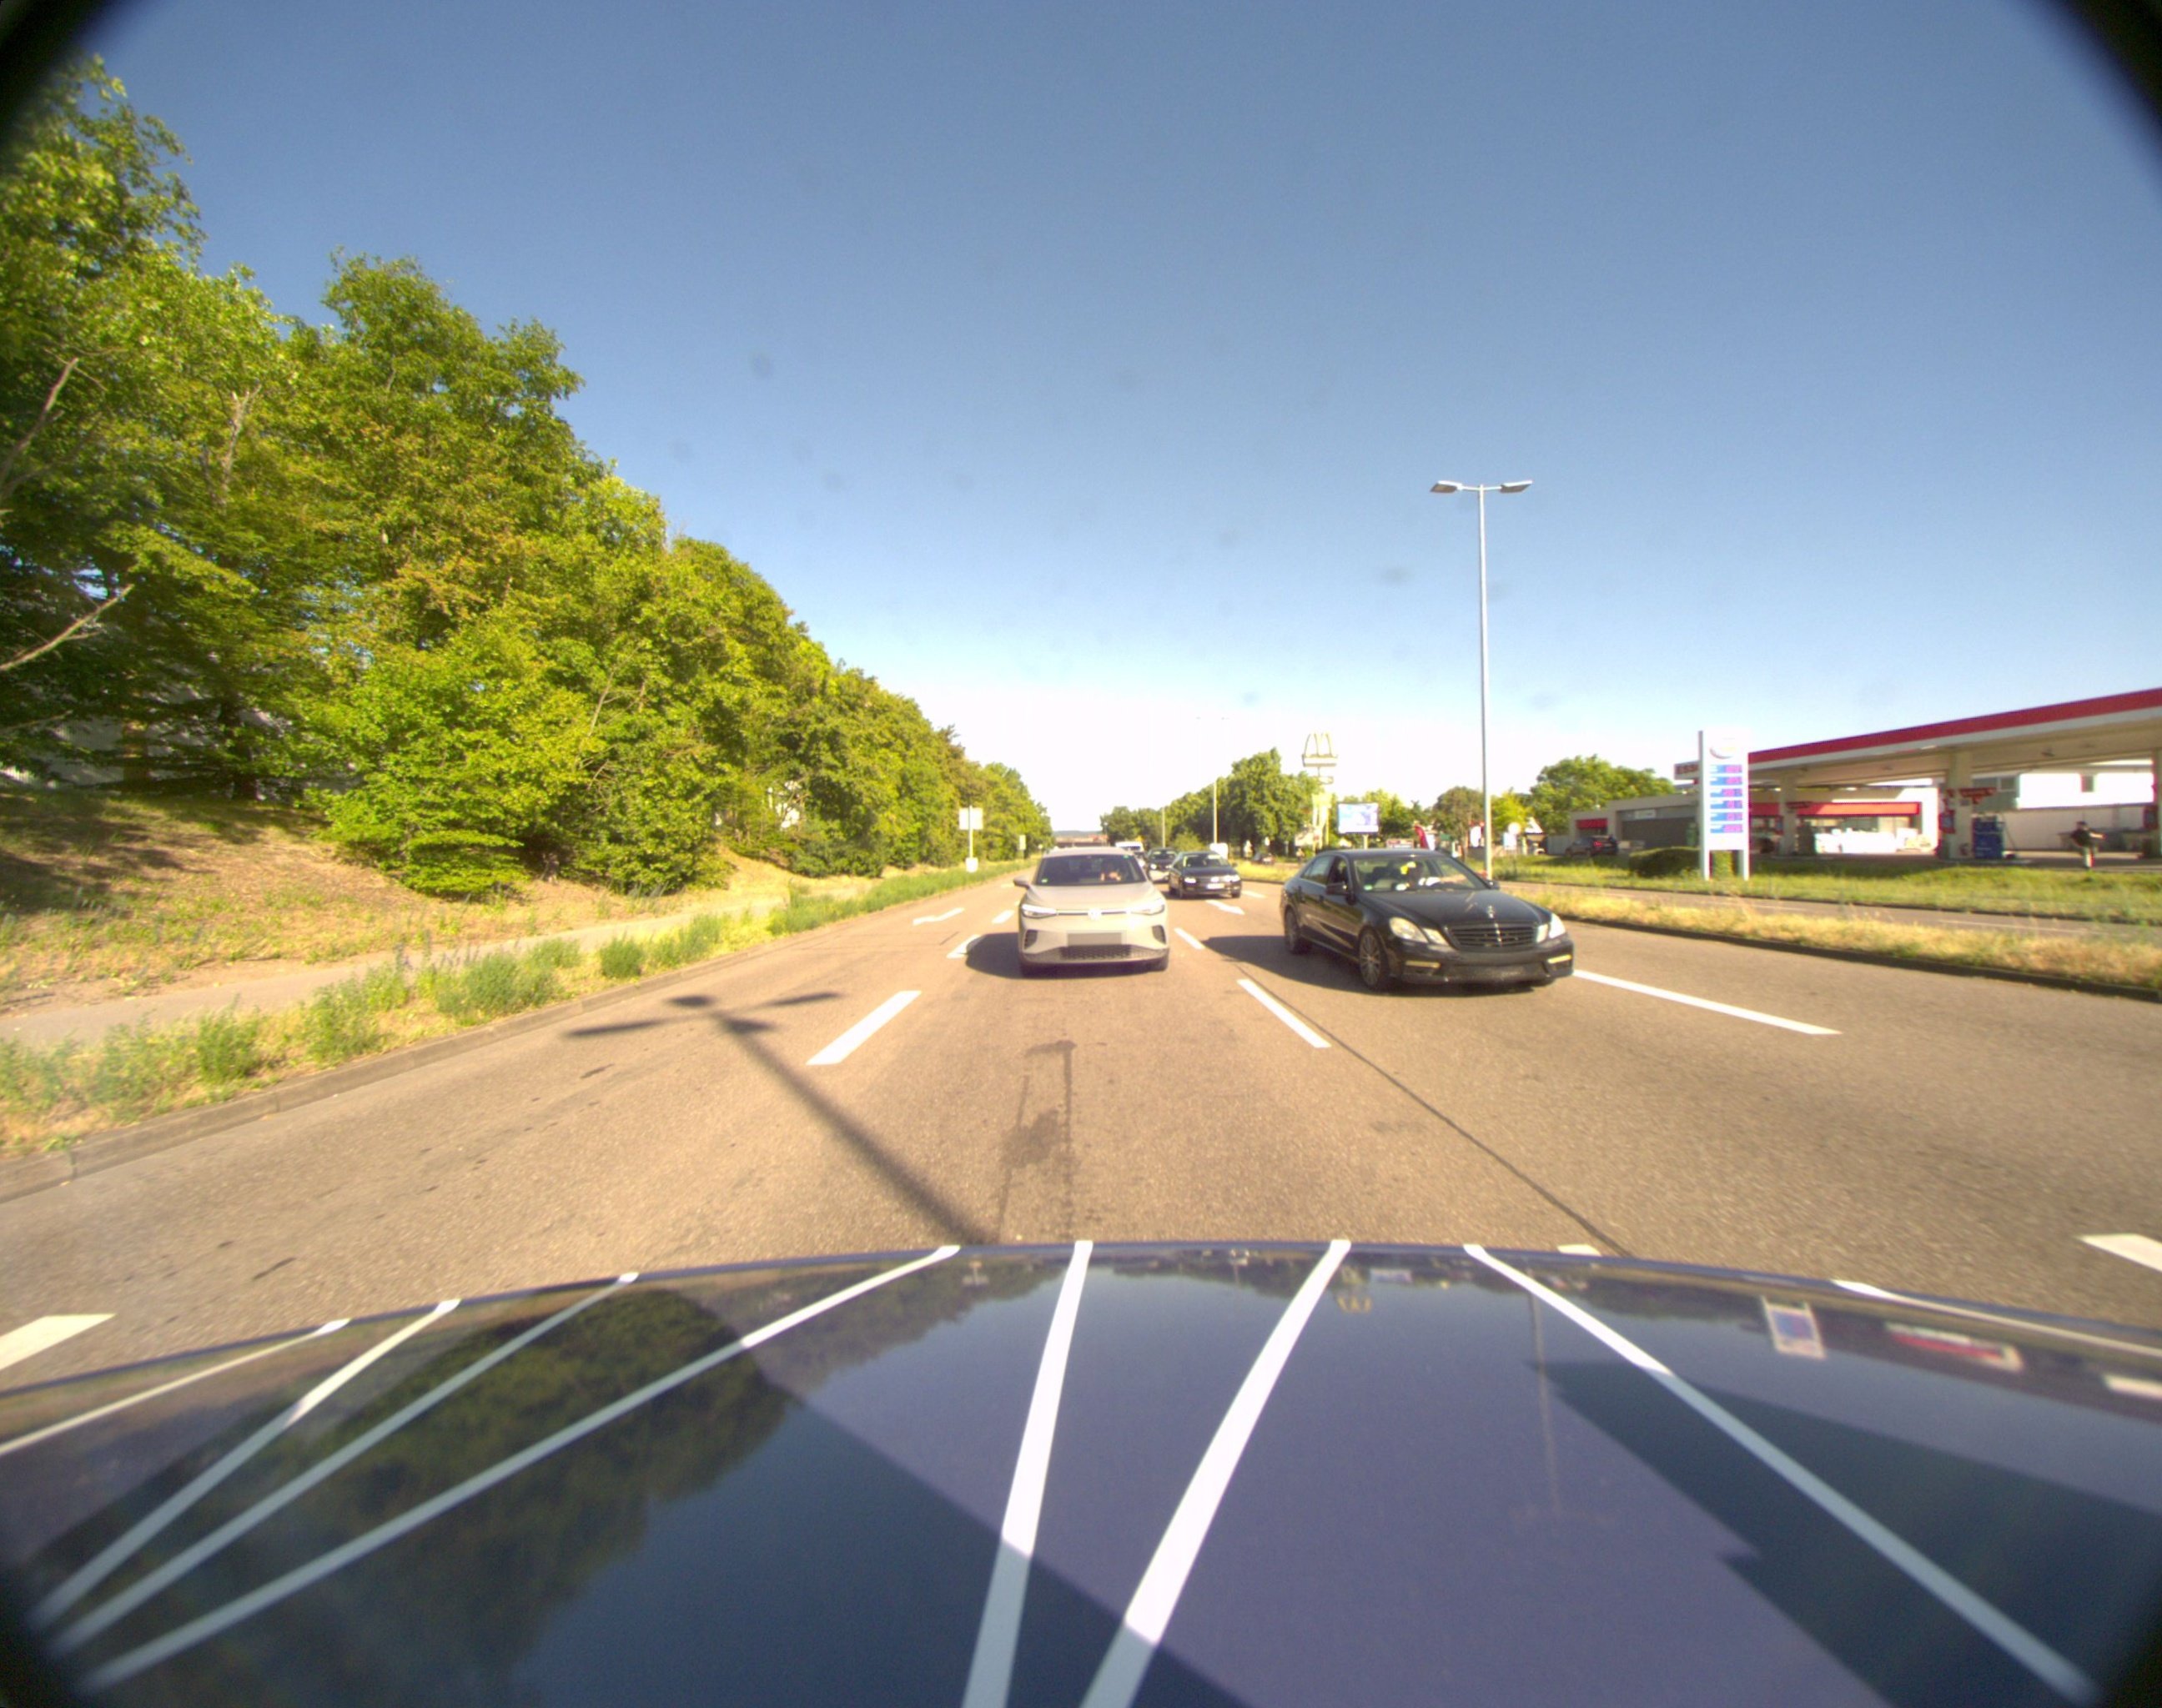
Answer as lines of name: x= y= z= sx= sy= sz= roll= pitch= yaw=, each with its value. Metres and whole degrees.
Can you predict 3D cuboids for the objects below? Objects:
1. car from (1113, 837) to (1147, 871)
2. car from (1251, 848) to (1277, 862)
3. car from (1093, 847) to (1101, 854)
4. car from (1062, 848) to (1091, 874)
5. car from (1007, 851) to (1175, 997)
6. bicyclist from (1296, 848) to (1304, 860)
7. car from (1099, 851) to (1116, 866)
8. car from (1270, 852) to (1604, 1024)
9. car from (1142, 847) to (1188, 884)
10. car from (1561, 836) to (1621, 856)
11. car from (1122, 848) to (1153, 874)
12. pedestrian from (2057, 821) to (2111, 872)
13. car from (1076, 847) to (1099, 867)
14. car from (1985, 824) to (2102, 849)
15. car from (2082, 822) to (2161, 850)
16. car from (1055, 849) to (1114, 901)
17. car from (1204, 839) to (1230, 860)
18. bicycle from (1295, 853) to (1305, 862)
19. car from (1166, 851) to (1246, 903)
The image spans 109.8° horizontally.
car: x=3.628 y=-0.060 z=57.735 sx=2.020 sy=2.349 sz=6.523 roll=-2 pitch=1 yaw=-1
car: x=20.164 y=0.105 z=83.866 sx=1.763 sy=1.482 sz=4.477 roll=2 pitch=1 yaw=1
car: x=3.677 y=-0.848 z=176.648 sx=1.763 sy=1.607 sz=4.402 roll=-2 pitch=1 yaw=-1
car: x=-0.299 y=0.426 z=48.639 sx=1.763 sy=1.482 sz=4.402 roll=-2 pitch=1 yaw=-1
car: x=0.095 y=0.792 z=10.875 sx=1.862 sy=1.574 sz=4.402 roll=-2 pitch=1 yaw=-1
bicyclist: x=23.415 y=0.024 z=81.257 sx=0.629 sy=1.281 sz=0.700 roll=-2 pitch=2 yaw=1
car: x=3.276 y=0.540 z=94.084 sx=1.763 sy=1.607 sz=4.402 roll=-2 pitch=1 yaw=-1
car: x=3.791 y=0.755 z=9.096 sx=1.868 sy=1.430 sz=4.402 roll=-2 pitch=1 yaw=-1
car: x=3.915 y=0.488 z=35.977 sx=1.674 sy=1.608 sz=3.878 roll=-2 pitch=1 yaw=-1
car: x=37.323 y=-0.582 z=55.688 sx=1.683 sy=1.401 sz=3.977 roll=-2 pitch=1 yaw=-1
car: x=3.604 y=0.416 z=48.779 sx=1.636 sy=1.547 sz=3.776 roll=-2 pitch=1 yaw=-1
pedestrian: x=34.819 y=-0.270 z=26.396 sx=0.789 sy=1.740 sz=0.905 roll=-2 pitch=2 yaw=21
car: x=0.475 y=0.214 z=62.703 sx=1.763 sy=1.482 sz=4.402 roll=-2 pitch=1 yaw=-1
car: x=55.915 y=-1.004 z=44.266 sx=1.683 sy=1.401 sz=3.977 roll=1 pitch=1 yaw=-1
car: x=56.027 y=-0.926 z=39.863 sx=1.683 sy=1.401 sz=3.977 roll=1 pitch=1 yaw=-1
car: x=0.083 y=0.622 z=25.394 sx=1.763 sy=1.482 sz=4.402 roll=-2 pitch=1 yaw=-1
car: x=16.521 y=-0.584 z=92.580 sx=2.027 sy=2.433 sz=5.820 roll=2 pitch=1 yaw=-1
bicycle: x=23.413 y=0.343 z=81.212 sx=0.629 sy=0.863 sz=1.741 roll=-2 pitch=1 yaw=1
car: x=3.919 y=0.673 z=24.483 sx=1.797 sy=1.419 sz=4.286 roll=-2 pitch=1 yaw=-1
